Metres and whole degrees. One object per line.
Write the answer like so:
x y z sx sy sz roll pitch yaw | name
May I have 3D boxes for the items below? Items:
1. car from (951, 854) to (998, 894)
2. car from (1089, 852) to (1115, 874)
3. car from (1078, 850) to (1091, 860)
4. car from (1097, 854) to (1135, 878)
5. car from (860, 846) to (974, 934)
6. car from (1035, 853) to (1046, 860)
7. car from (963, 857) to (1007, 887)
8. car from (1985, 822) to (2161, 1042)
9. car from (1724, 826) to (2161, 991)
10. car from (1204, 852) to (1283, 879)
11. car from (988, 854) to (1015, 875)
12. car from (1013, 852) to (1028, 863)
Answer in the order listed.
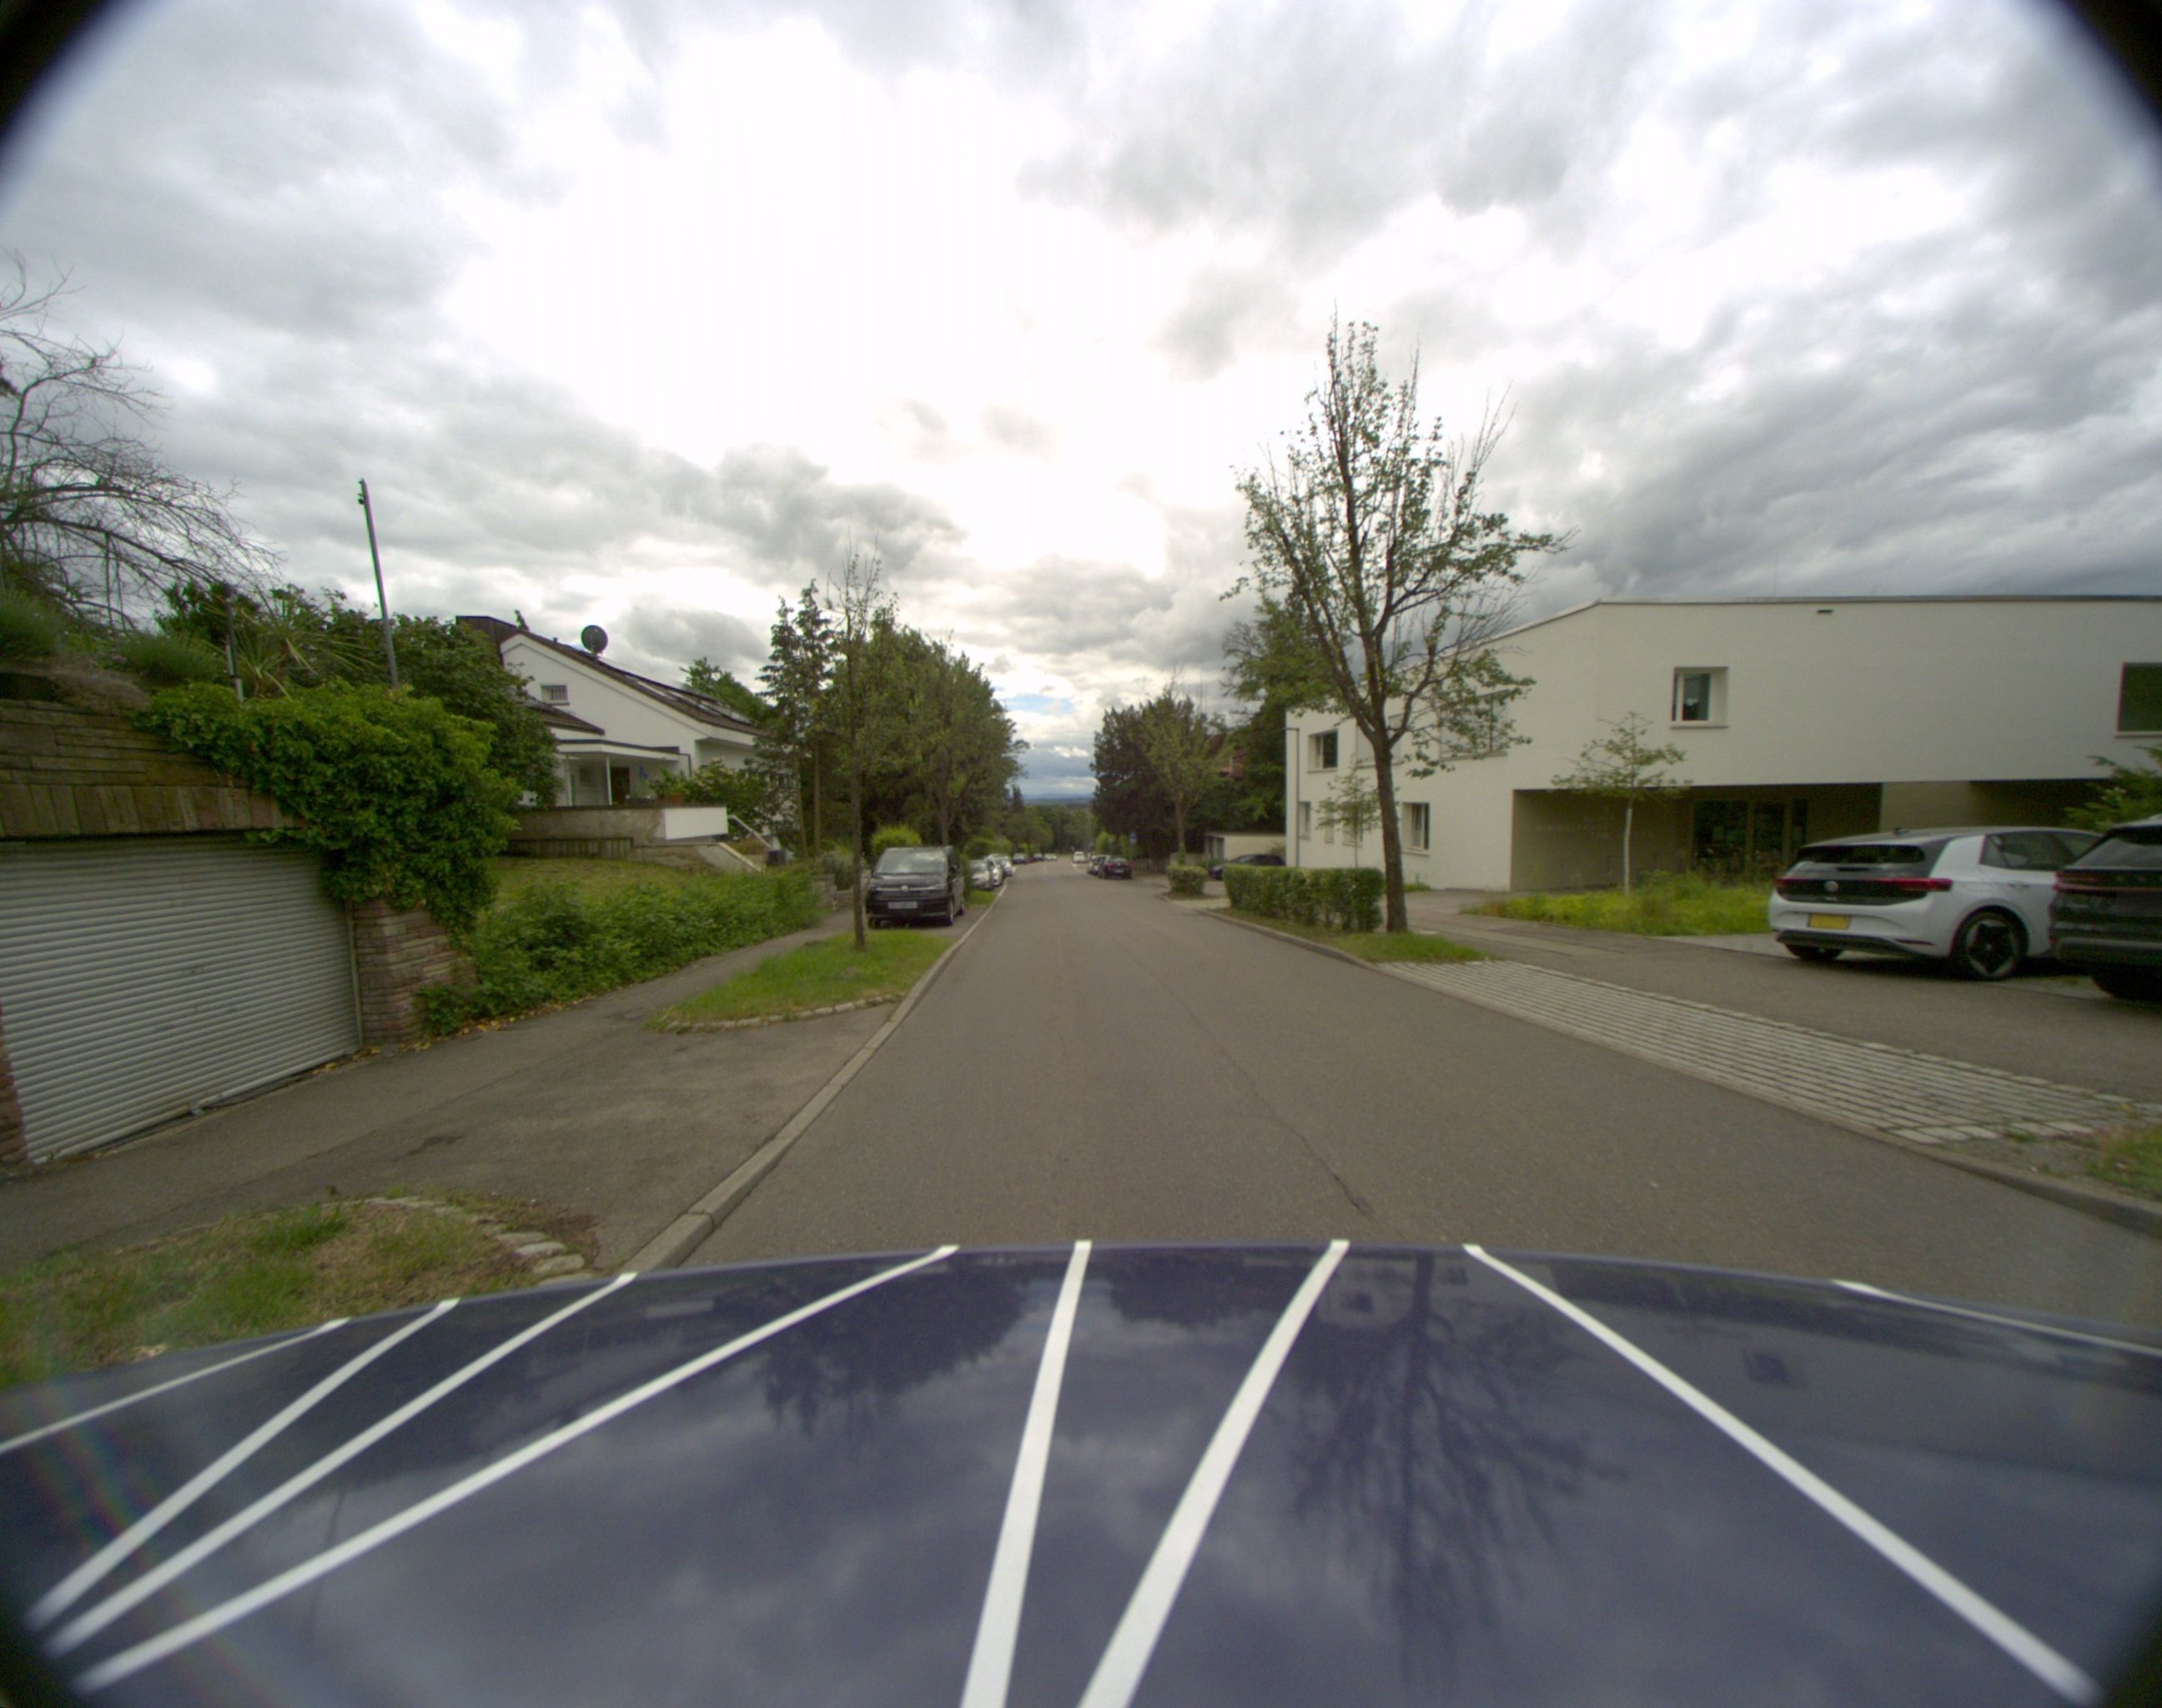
-4.786 0.862 34.652 1.721 1.623 3.927 -3 1 -4 | car
1.553 0.665 57.371 1.629 1.510 2.973 -1 1 -5 | car
0.466 0.125 105.307 1.694 1.411 3.579 1 0 0 | car
2.236 0.722 49.308 1.856 1.461 4.680 -1 0 -5 | car
-3.885 0.757 18.928 1.941 1.827 5.217 -1 0 -3 | car
-8.151 0.504 152.103 1.999 1.221 3.999 -1 1 0 | car
-5.167 0.930 41.498 1.999 1.483 5.003 -1 0 -3 | car
10.127 0.530 5.880 3.998 1.644 2.008 -2 1 -3 | car
10.202 0.509 8.523 4.399 1.557 2.065 -1 0 -5 | car
8.640 0.593 40.502 3.804 1.346 1.741 -1 1 -2 | car
-6.507 0.823 61.872 2.007 1.599 4.755 -1 0 -8 | car
-8.265 0.436 104.512 1.794 1.480 4.378 -1 0 0 | car
